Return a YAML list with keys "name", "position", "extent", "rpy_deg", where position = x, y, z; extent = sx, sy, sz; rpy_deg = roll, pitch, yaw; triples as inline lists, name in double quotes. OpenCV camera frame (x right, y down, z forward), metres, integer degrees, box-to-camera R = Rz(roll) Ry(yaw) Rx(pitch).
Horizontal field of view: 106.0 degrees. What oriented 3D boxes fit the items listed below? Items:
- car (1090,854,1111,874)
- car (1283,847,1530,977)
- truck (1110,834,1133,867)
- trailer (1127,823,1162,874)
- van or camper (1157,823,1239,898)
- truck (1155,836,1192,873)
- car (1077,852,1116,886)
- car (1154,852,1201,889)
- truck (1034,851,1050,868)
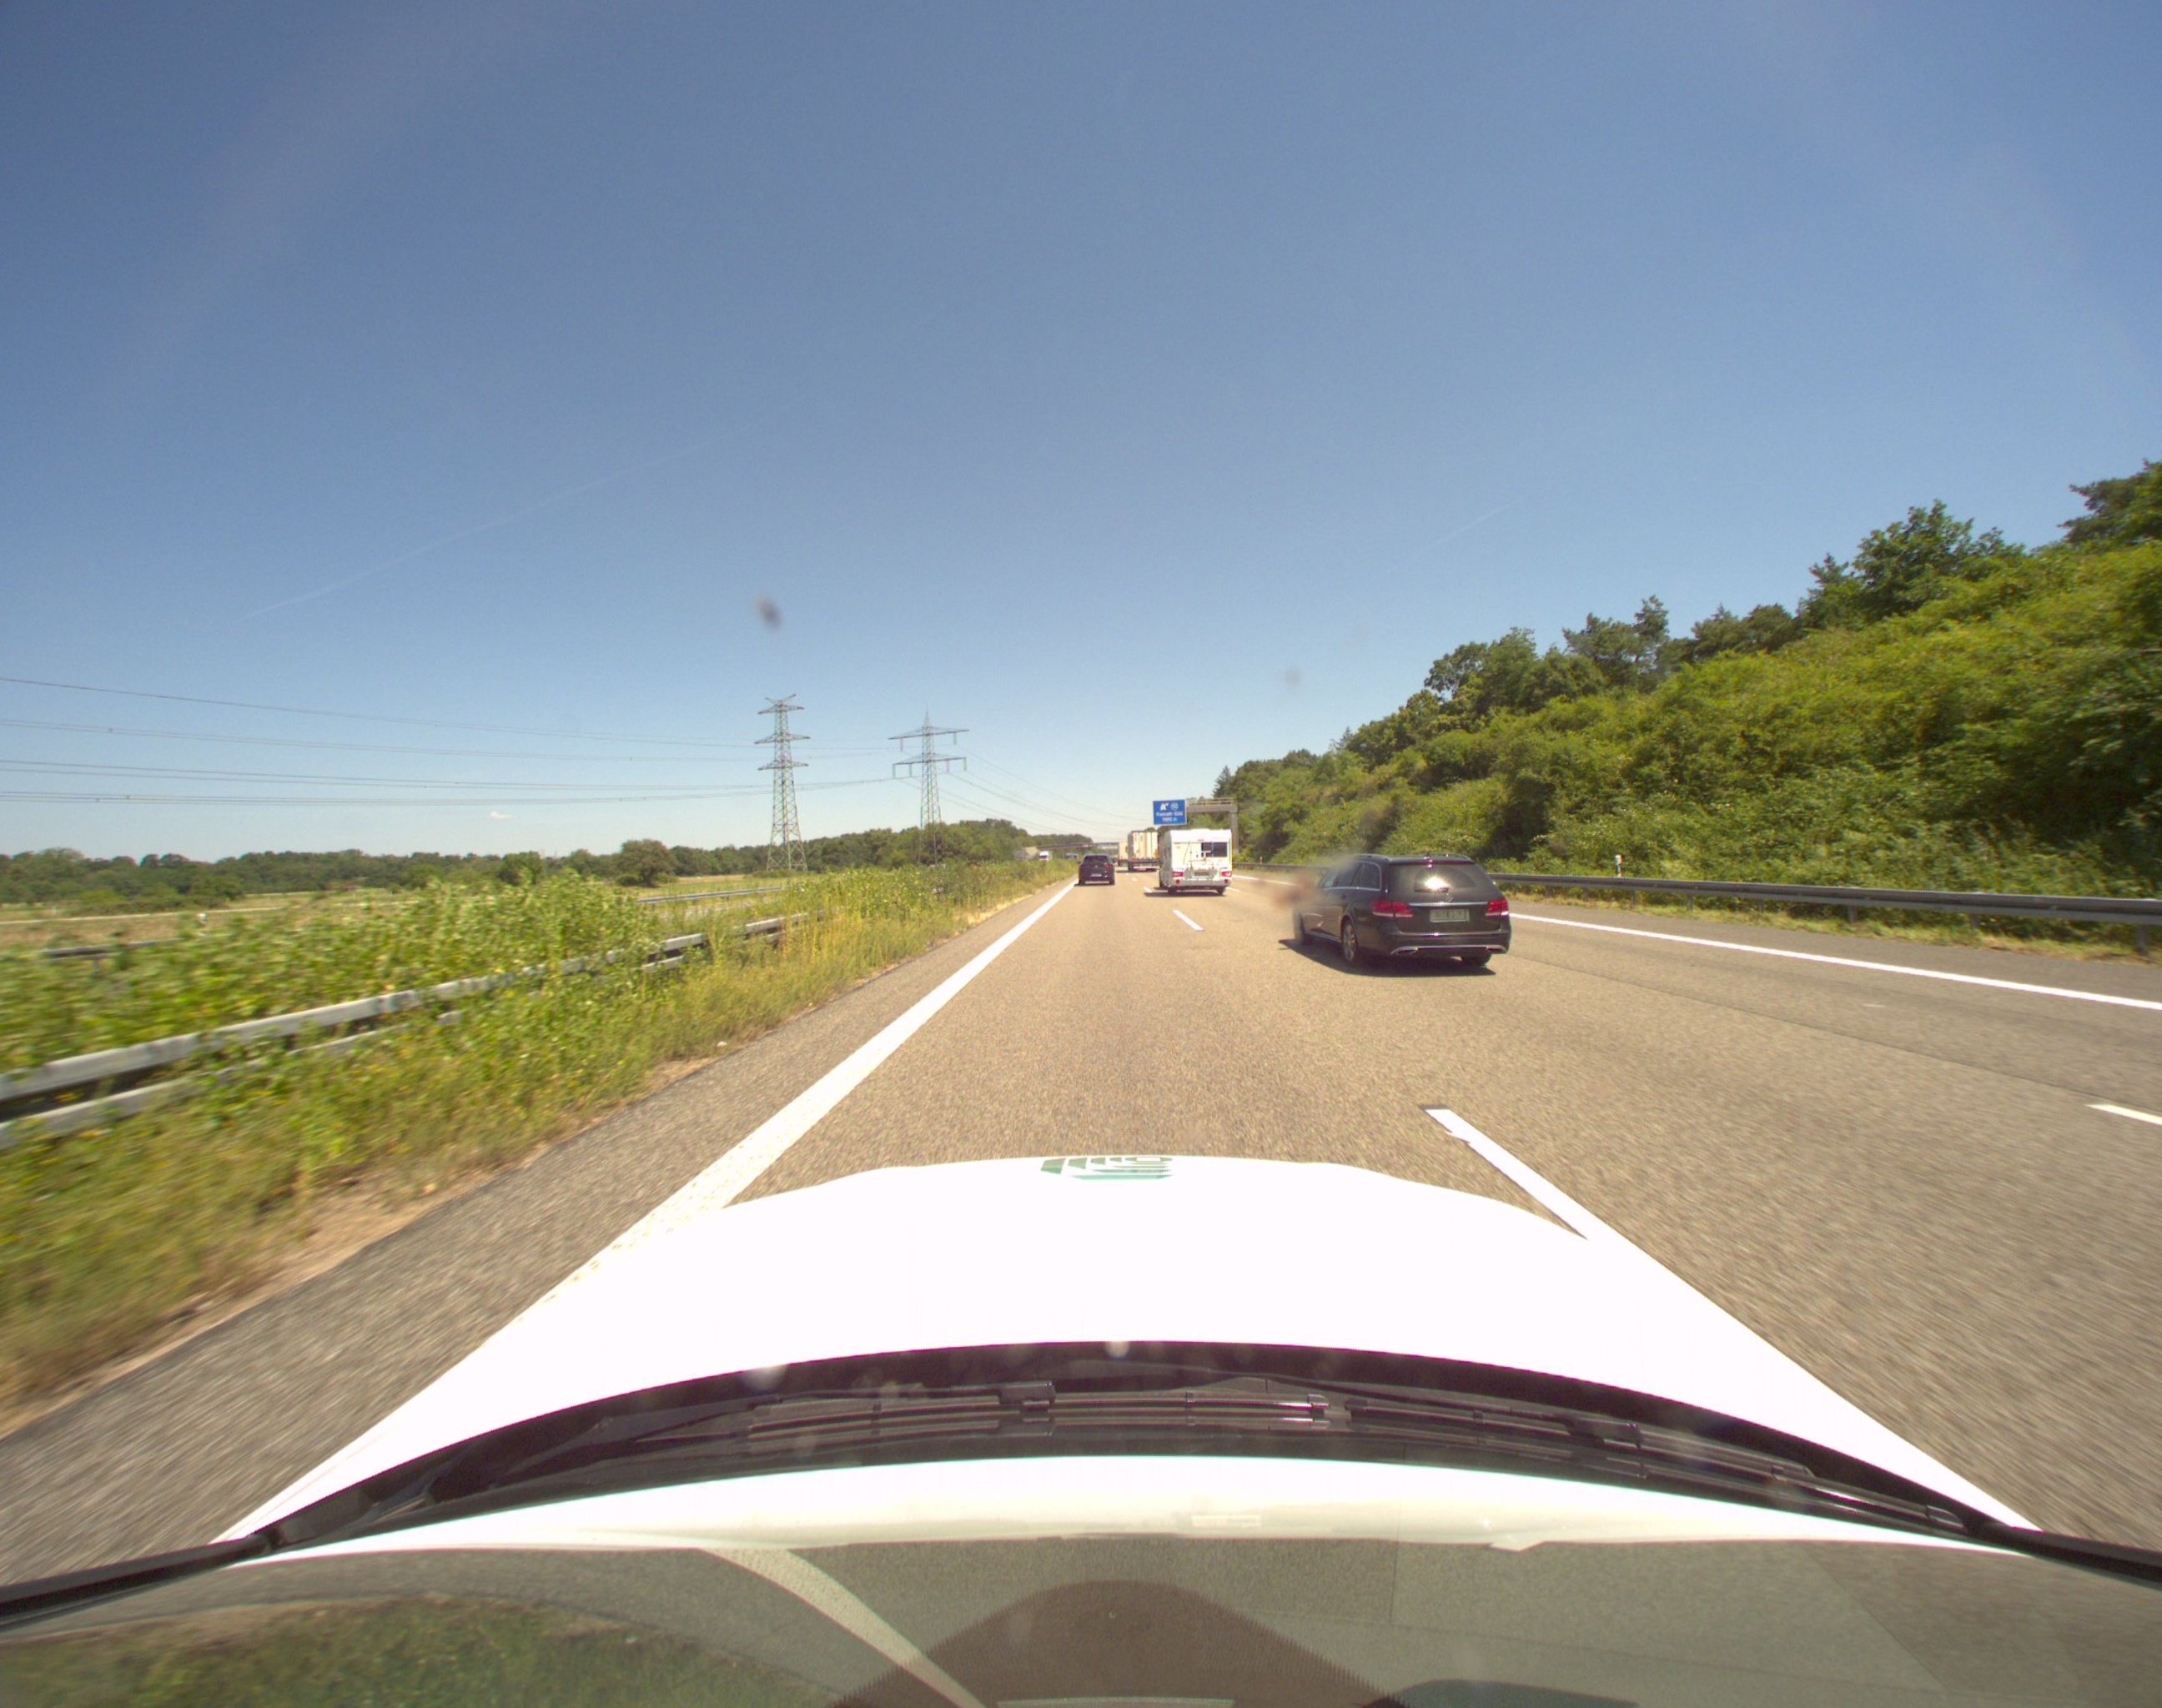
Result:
- name: "car"
  position: [1.868, 0.919, 78.290]
  extent: [1.955, 1.814, 4.449]
  rpy_deg: [-2, 0, 1]
- name: "car"
  position: [4.453, 0.686, 12.049]
  extent: [1.834, 1.505, 4.739]
  rpy_deg: [-2, 0, 1]
- name: "truck"
  position: [6.665, -0.535, 135.188]
  extent: [3.498, 5.166, 10.263]
  rpy_deg: [-1, 0, 2]
- name: "trailer"
  position: [6.379, -0.489, 83.610]
  extent: [3.075, 4.885, 12.263]
  rpy_deg: [0, -1, 2]
- name: "van or camper"
  position: [4.555, 0.235, 32.947]
  extent: [2.430, 2.675, 6.350]
  rpy_deg: [-2, 0, 1]
- name: "truck"
  position: [11.001, 0.127, 97.936]
  extent: [3.557, 4.245, 11.657]
  rpy_deg: [0, -1, 2]
- name: "car"
  position: [0.854, 0.794, 45.341]
  extent: [1.987, 1.772, 4.000]
  rpy_deg: [-2, 0, 1]
- name: "car"
  position: [4.480, 0.750, 38.521]
  extent: [1.871, 1.612, 4.706]
  rpy_deg: [-2, 0, 3]
- name: "truck"
  position: [-10.776, 1.504, 224.047]
  extent: [3.353, 4.408, 6.563]
  rpy_deg: [-4, 0, 4]
